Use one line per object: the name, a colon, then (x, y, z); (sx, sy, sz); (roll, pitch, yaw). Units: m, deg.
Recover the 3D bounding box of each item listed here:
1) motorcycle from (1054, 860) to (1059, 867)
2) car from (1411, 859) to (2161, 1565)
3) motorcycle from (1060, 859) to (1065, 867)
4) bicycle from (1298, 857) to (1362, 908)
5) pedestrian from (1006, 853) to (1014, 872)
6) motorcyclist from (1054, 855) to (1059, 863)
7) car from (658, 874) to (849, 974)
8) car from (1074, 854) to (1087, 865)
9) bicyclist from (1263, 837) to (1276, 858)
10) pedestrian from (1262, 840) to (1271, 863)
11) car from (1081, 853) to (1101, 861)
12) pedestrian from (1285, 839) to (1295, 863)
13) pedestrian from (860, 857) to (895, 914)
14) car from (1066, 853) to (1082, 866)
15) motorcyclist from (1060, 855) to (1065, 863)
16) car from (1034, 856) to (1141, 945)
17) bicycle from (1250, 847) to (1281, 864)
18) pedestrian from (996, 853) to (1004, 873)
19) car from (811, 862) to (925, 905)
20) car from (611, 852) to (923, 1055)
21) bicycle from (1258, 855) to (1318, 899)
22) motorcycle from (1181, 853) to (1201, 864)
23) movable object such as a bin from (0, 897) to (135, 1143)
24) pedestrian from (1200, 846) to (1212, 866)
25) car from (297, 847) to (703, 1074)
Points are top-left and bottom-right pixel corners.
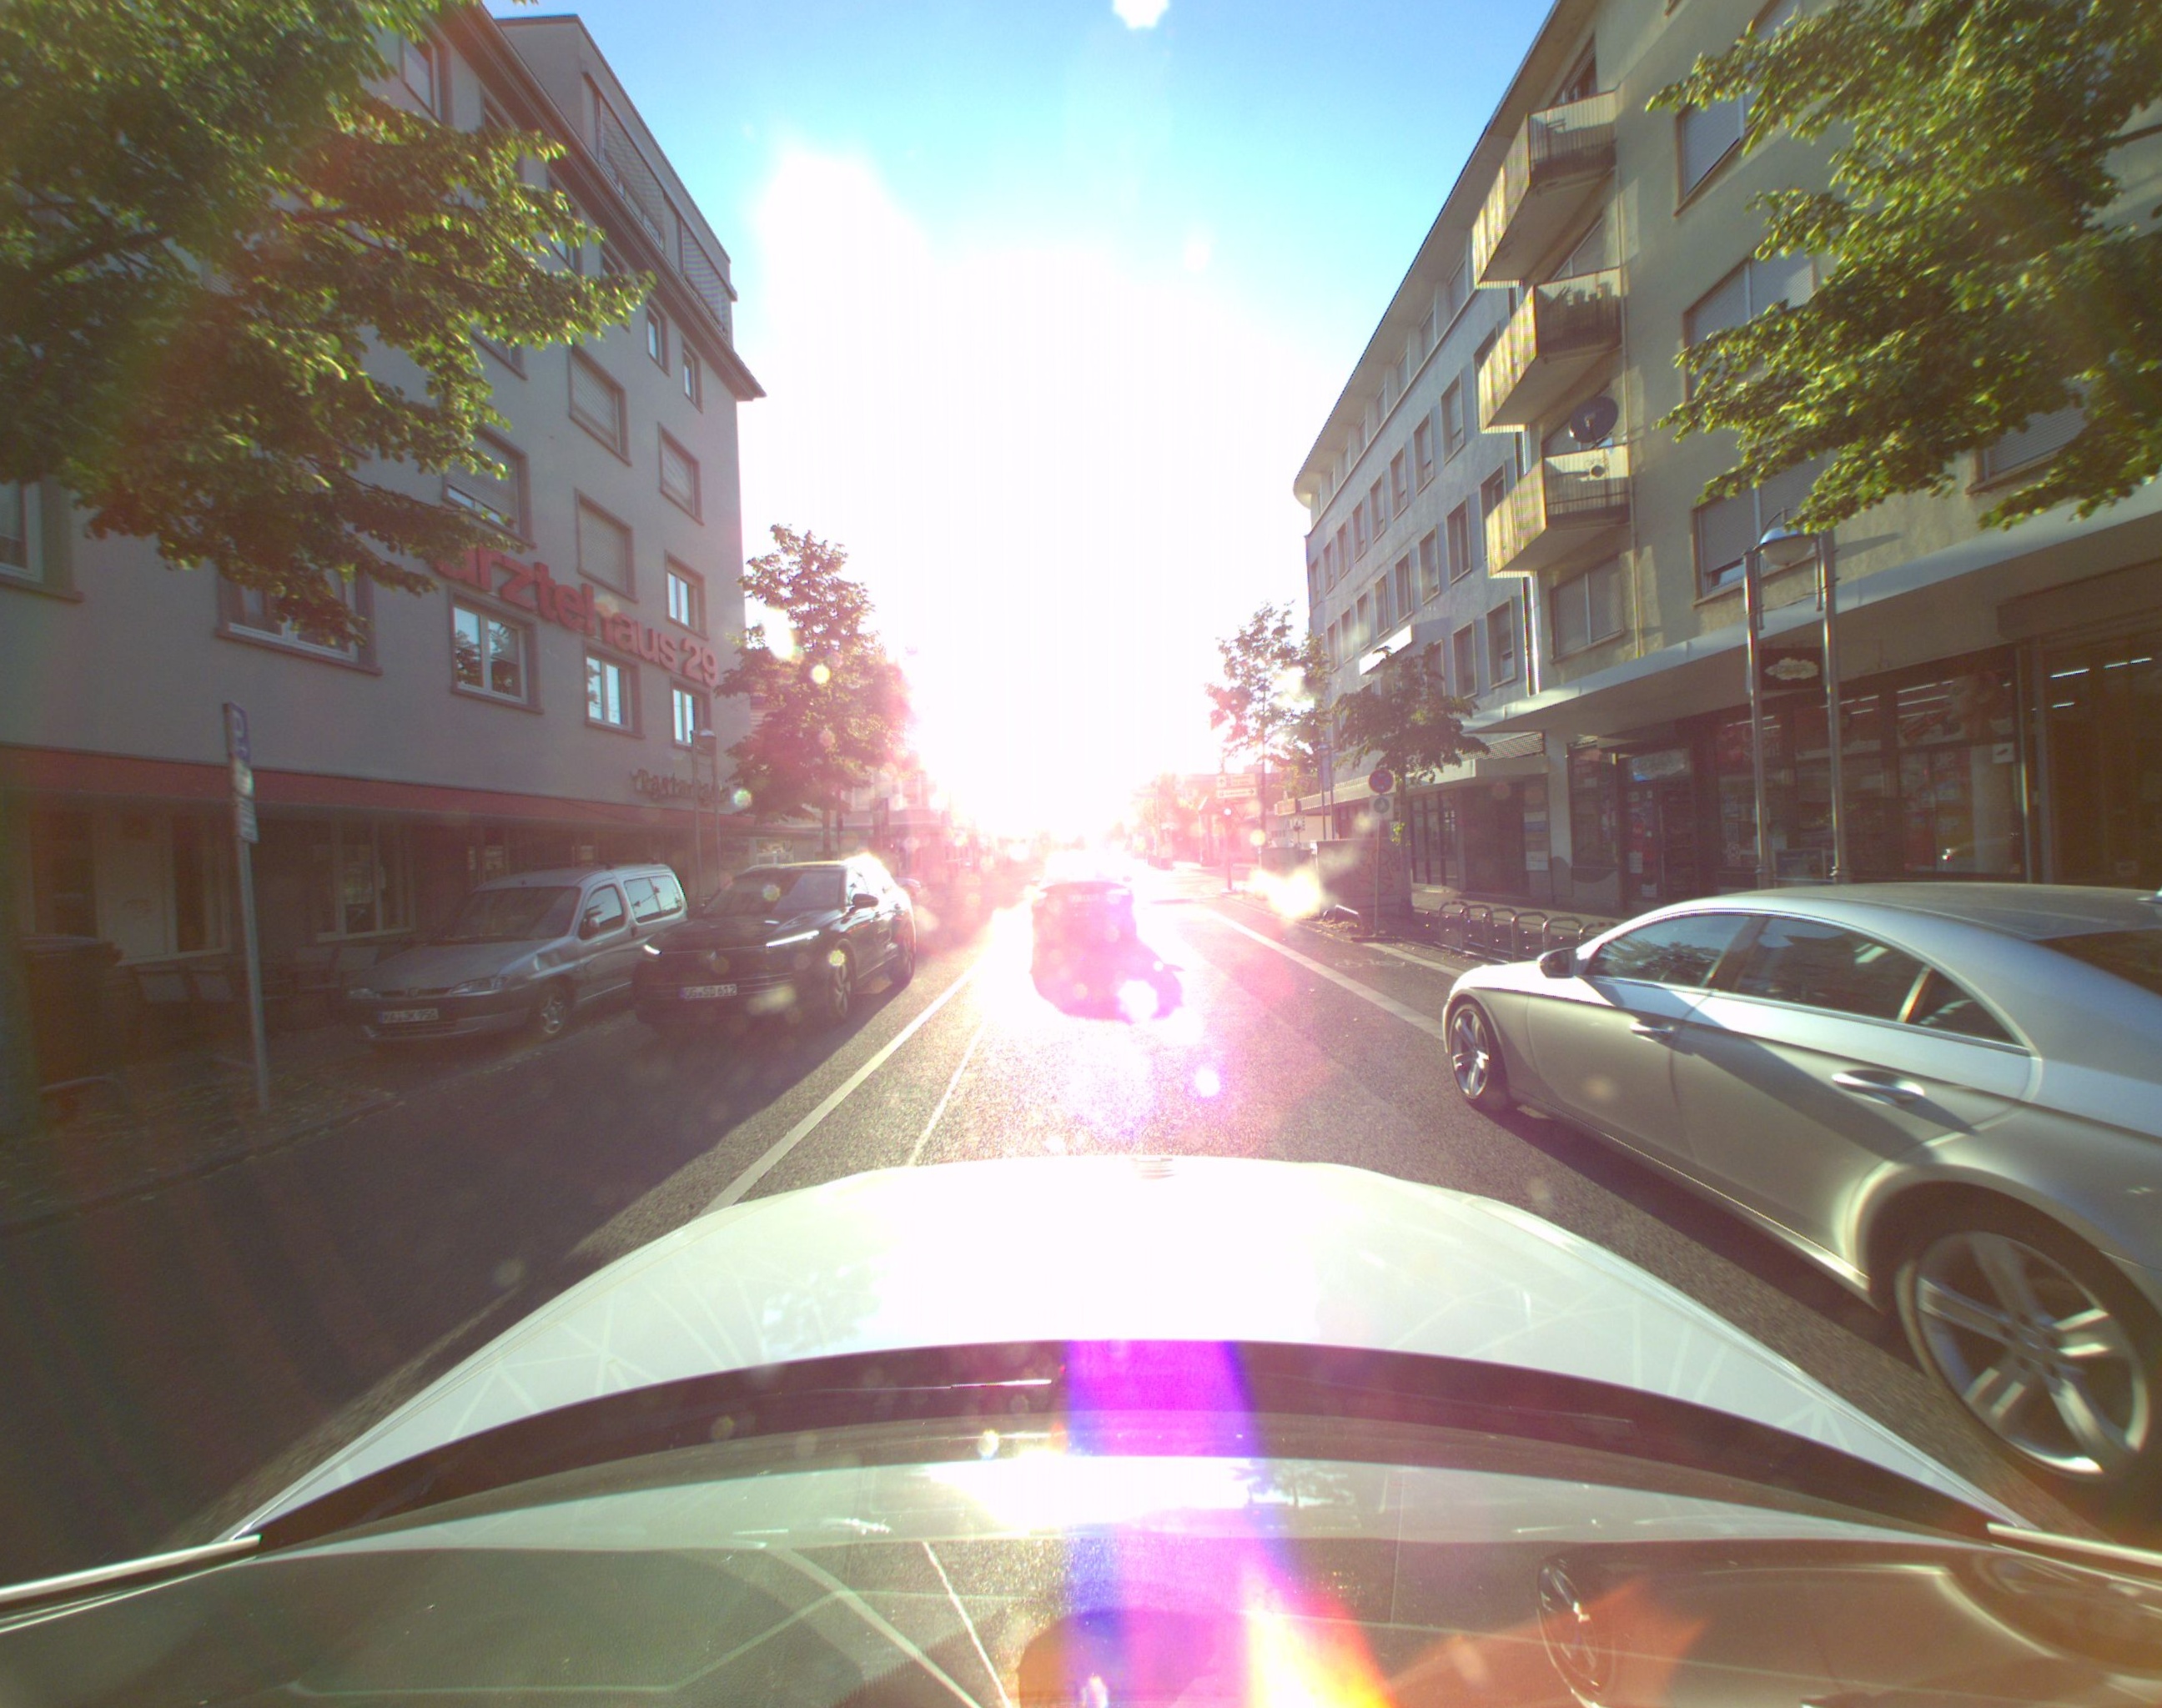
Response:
motorcycle: (-3.170, 1.186, 105.430); (0.573, 0.915, 2.201); (-1, 0, 2)
car: (3.102, 0.755, 3.205); (1.736, 1.401, 4.639); (-1, 0, 0)
motorcycle: (-2.402, 1.174, 104.682); (0.573, 0.915, 2.201); (-1, 0, 2)
bicycle: (6.116, 0.700, 20.010); (1.435, 1.220, 0.383); (-1, 0, 2)
pedestrian: (-6.843, 0.824, 78.506); (0.674, 1.876, 0.618); (-1, 0, 1)
motorcyclist: (-3.177, 0.654, 105.335); (0.573, 0.915, 2.201); (-1, 0, 2)
car: (-5.943, 1.193, 15.399); (1.717, 1.416, 4.280); (-5, -1, 1)
car: (-0.013, 0.800, 123.521); (1.811, 1.519, 4.001); (-3, 0, 1)
bicyclist: (13.412, -0.434, 57.918); (0.713, 1.481, 0.555); (-2, -1, 42)
pedestrian: (13.771, -0.169, 60.571); (0.444, 1.735, 0.430); (-1, 0, -24)
car: (2.005, 0.636, 165.022); (1.801, 1.519, 4.024); (-3, 0, 43)
pedestrian: (15.452, -0.228, 60.180); (0.481, 1.735, 0.527); (-1, 0, -24)
pedestrian: (-6.946, 1.071, 27.819); (1.004, 1.860, 0.636); (-4, 0, -19)
car: (-0.909, 0.675, 105.101); (1.811, 1.519, 4.001); (-3, 0, 1)
motorcyclist: (-2.405, 0.642, 104.573); (0.573, 0.995, 0.703); (-1, 0, 1)
car: (0.126, 0.779, 15.600); (1.731, 1.428, 4.223); (-2, 0, 0)
bicycle: (13.180, 0.132, 58.127); (2.117, 1.159, 0.555); (-2, -1, 42)
pedestrian: (-7.776, 0.838, 78.370); (0.641, 1.876, 0.632); (-1, 0, 1)
car: (-8.929, 1.201, 34.178); (4.327, 1.498, 1.984); (-3, 0, -25)
car: (-3.161, 0.865, 9.267); (1.724, 1.675, 4.296); (-3, 0, 1)
bicycle: (5.962, 0.660, 23.521); (1.606, 1.171, 0.319); (-3, 0, 2)
motorcycle: (10.282, 0.420, 75.908); (1.669, 0.939, 0.853); (-3, 0, -10)
movable object such as a bin: (-7.689, 1.142, 5.679); (0.779, 1.620, 1.207); (0, 0, -3)
pedestrian: (9.387, 0.155, 61.315); (0.734, 1.529, 0.470); (-1, 0, -17)
car: (-6.117, 0.957, 9.291); (1.664, 1.887, 4.051); (-4, 0, -2)
